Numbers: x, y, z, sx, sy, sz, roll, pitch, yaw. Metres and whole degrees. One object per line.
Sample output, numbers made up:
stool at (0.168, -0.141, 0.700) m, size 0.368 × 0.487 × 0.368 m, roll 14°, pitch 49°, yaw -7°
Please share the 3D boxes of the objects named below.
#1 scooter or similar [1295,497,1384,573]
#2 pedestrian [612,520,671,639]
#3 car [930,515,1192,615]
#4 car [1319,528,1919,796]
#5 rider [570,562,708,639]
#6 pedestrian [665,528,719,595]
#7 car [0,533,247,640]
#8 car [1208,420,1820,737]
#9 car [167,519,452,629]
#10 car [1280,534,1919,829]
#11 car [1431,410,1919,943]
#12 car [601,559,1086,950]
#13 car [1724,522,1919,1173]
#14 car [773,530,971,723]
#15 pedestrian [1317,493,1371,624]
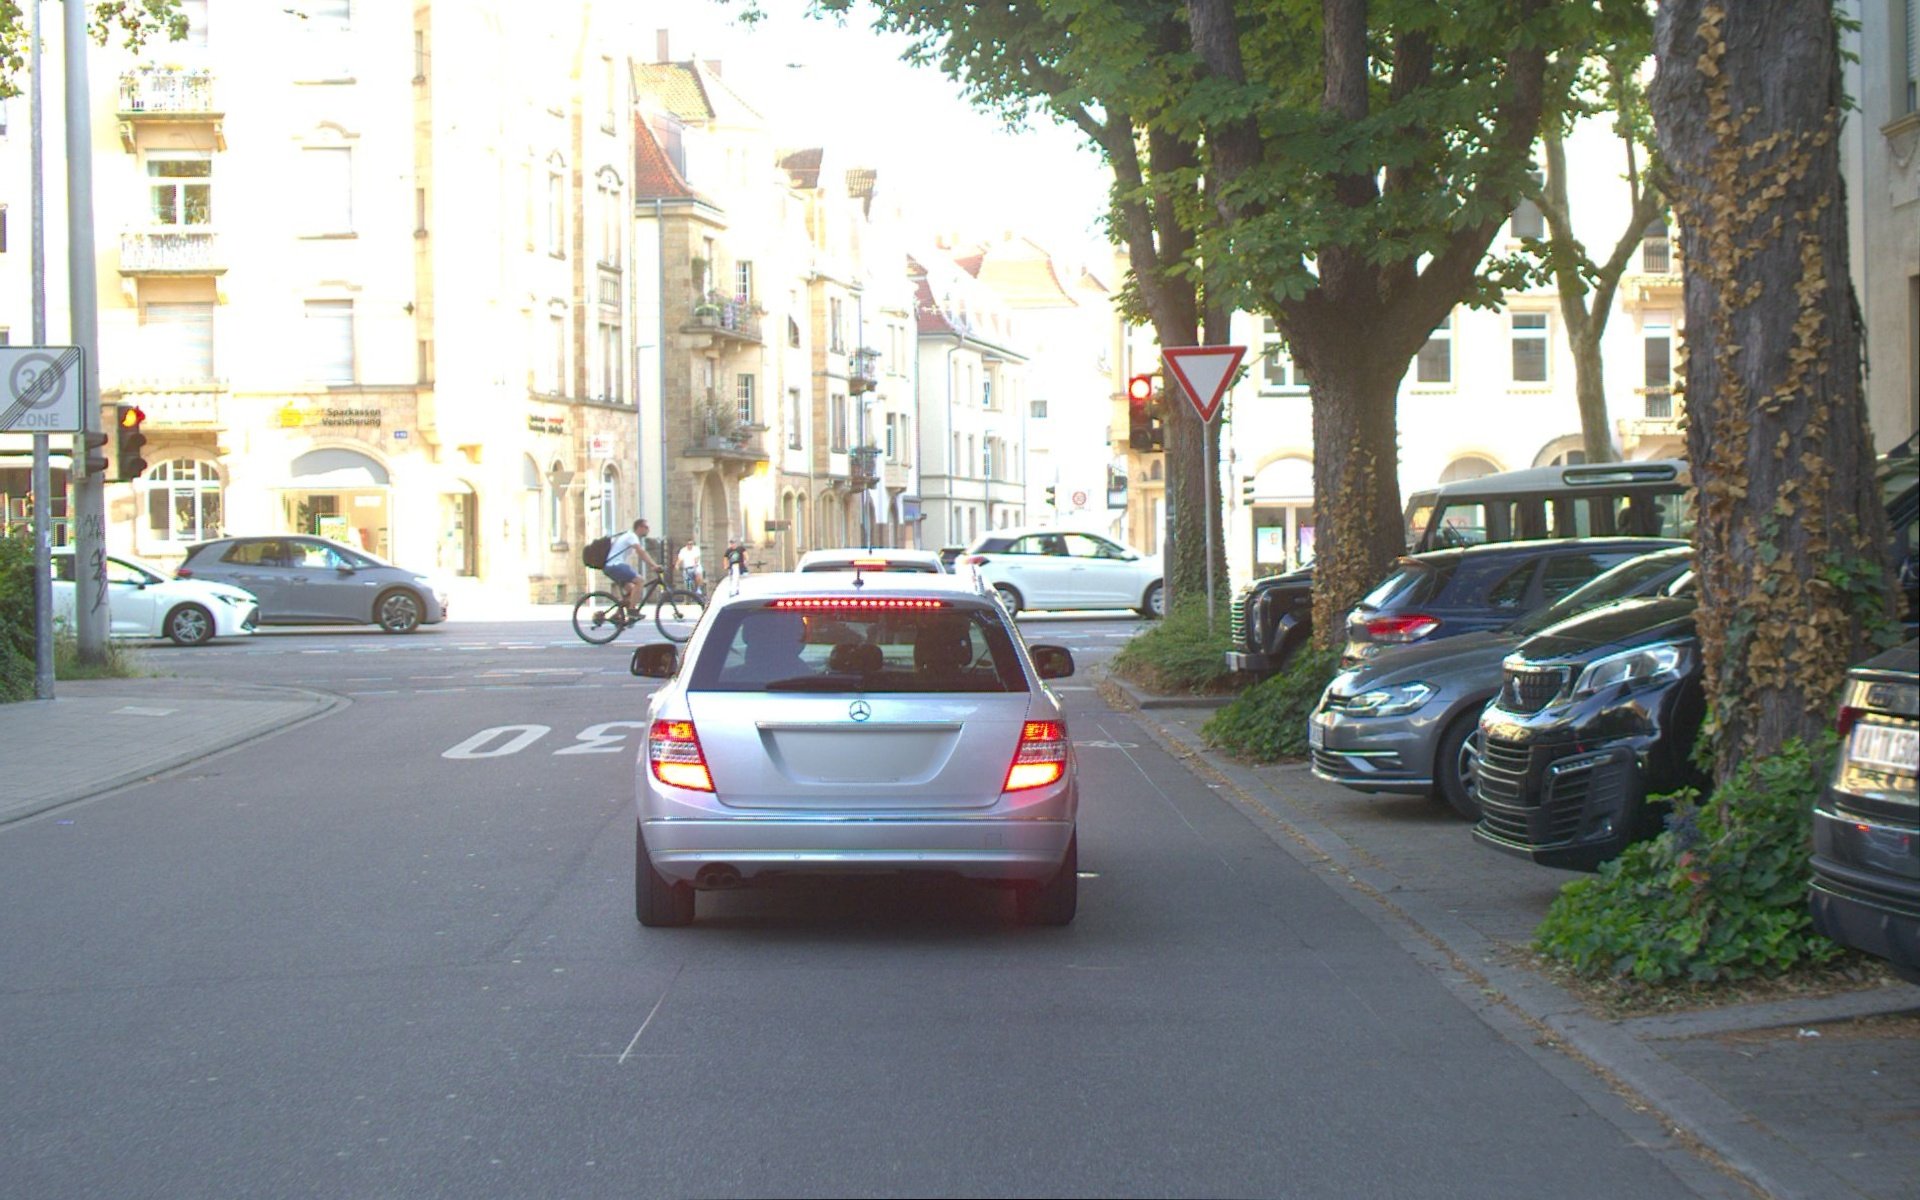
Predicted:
scooter or similar at (5.448, -0.934, 49.397) m, size 1.175 × 1.048 × 0.409 m, roll -2°, pitch 1°, yaw -4°
pedestrian at (-4.426, -0.293, 47.799) m, size 0.769 × 1.640 × 0.505 m, roll -1°, pitch 1°, yaw -9°
car at (1.567, -0.564, 54.090) m, size 3.887 × 1.510 × 1.708 m, roll 0°, pitch 1°, yaw -8°
car at (4.480, 0.338, 21.098) m, size 4.287 × 1.535 × 1.899 m, roll 0°, pitch 1°, yaw -3°
rider at (-4.469, 0.007, 47.796) m, size 1.873 × 1.034 × 0.511 m, roll -1°, pitch 1°, yaw -9°
pedestrian at (-6.997, -1.003, 89.830) m, size 1.221 × 1.716 × 1.503 m, roll 1°, pitch 1°, yaw 2°
car at (-12.319, -0.210, 49.112) m, size 4.088 × 1.476 × 1.718 m, roll -1°, pitch 1°, yaw -9°
car at (4.244, -0.187, 26.811) m, size 4.388 × 2.356 × 2.000 m, roll 0°, pitch 1°, yaw -3°
car at (-9.886, -0.414, 52.495) m, size 4.153 × 1.621 × 1.794 m, roll 0°, pitch 1°, yaw -7°
car at (4.041, 0.396, 18.900) m, size 4.287 × 1.412 × 1.877 m, roll -2°, pitch 1°, yaw -3°
car at (4.615, 0.248, 13.974) m, size 5.053 × 1.982 × 2.072 m, roll 0°, pitch 1°, yaw -3°
car at (-0.438, 0.556, 14.656) m, size 1.784 × 1.432 × 3.851 m, roll 0°, pitch 0°, yaw 0°
car at (4.374, 0.557, 8.997) m, size 4.287 × 1.535 × 1.877 m, roll 0°, pitch 1°, yaw -3°
car at (-0.725, 0.182, 30.250) m, size 1.623 × 1.564 × 3.680 m, roll 0°, pitch 1°, yaw 0°
pedestrian at (5.519, -0.597, 49.410) m, size 0.642 × 1.859 × 0.410 m, roll -2°, pitch 1°, yaw -4°
